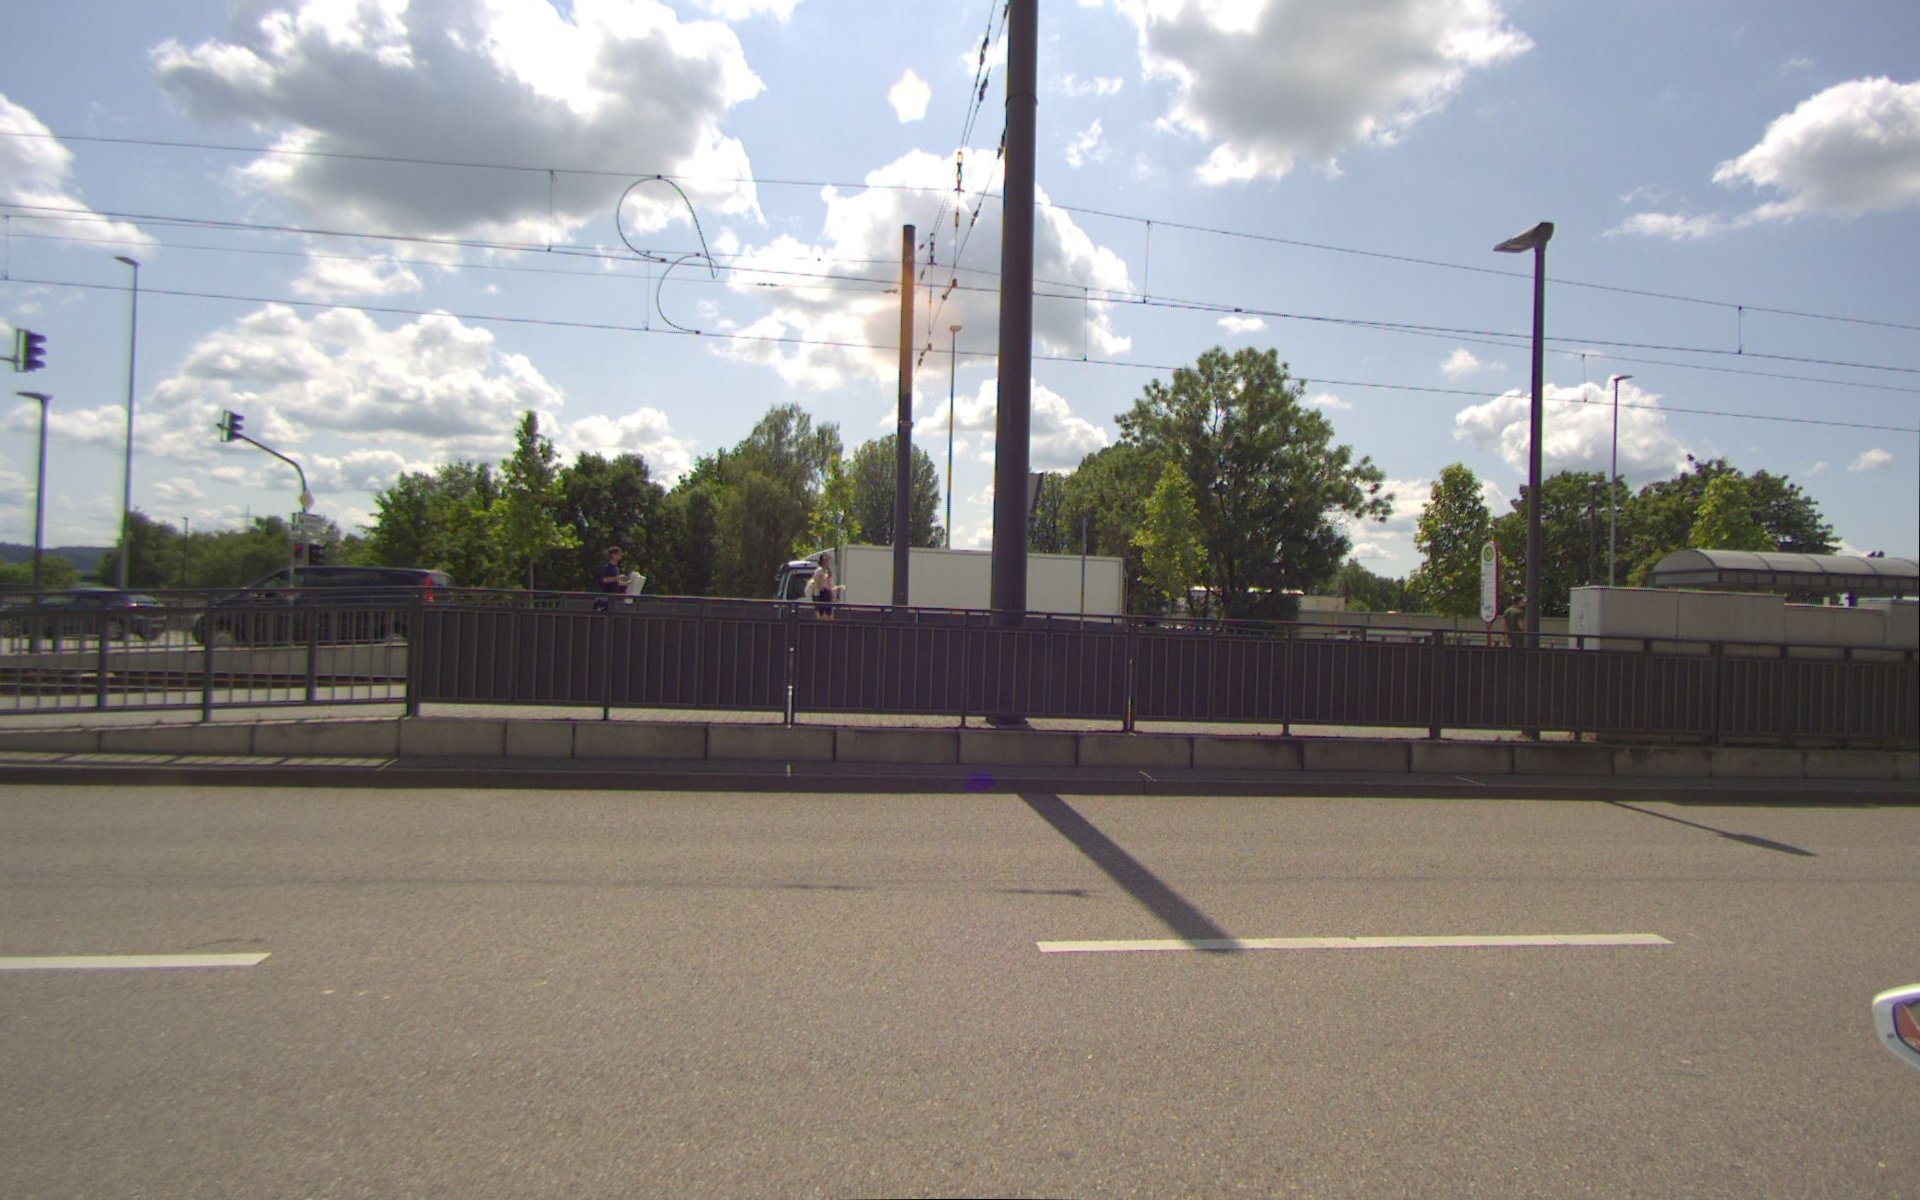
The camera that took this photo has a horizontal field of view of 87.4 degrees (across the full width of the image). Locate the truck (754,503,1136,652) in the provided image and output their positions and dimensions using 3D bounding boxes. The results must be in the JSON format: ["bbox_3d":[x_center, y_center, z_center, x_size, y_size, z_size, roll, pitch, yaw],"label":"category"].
[{"bbox_3d":[-0.507,-0.629,32.425,11.780,4.159,2.947,2,0,-9],"label":"truck"}]

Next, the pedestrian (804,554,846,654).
[{"bbox_3d":[-2.434,0.069,18.201,0.665,1.772,0.636,2,2,-4],"label":"pedestrian"}]

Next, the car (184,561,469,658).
[{"bbox_3d":[-13.089,0.220,21.035,4.580,1.844,1.998,1,0,-7],"label":"car"}]

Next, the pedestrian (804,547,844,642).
[{"bbox_3d":[-2.562,-0.098,18.993,0.694,1.744,0.600,1,0,-4],"label":"pedestrian"}]

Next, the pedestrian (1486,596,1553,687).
[{"bbox_3d":[11.537,0.841,20.726,0.913,1.831,0.735,2,0,-7],"label":"pedestrian"}]

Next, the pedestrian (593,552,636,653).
[{"bbox_3d":[-6.080,0.047,17.688,0.514,1.744,0.730,1,0,-3],"label":"pedestrian"}]
